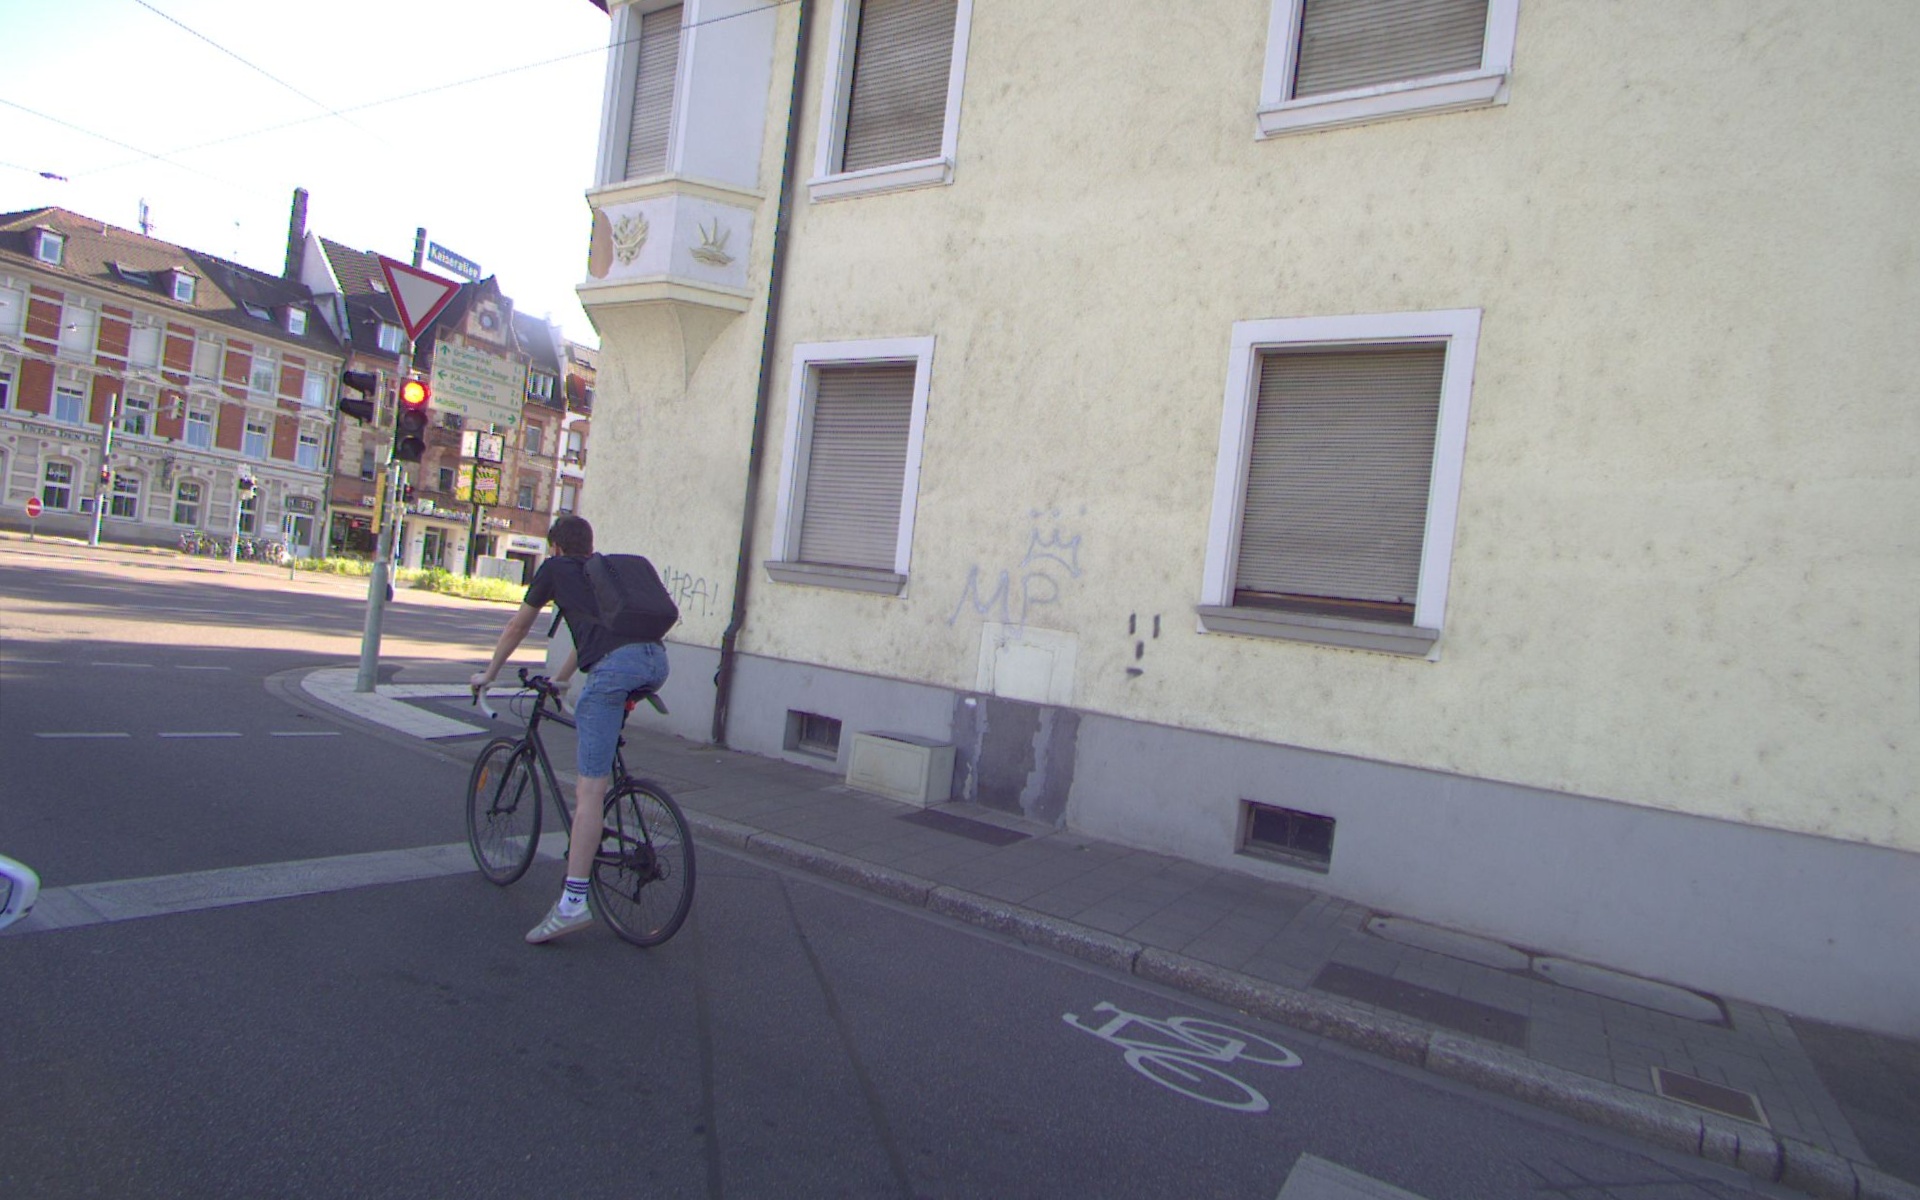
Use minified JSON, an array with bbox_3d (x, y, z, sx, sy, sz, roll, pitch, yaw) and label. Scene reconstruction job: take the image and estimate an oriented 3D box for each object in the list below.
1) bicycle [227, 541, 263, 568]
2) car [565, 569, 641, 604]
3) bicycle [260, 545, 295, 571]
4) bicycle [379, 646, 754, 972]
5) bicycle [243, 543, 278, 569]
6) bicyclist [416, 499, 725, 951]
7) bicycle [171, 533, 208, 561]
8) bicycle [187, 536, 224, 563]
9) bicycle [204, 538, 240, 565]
[{"bbox_3d":[-33.650,-2.153,47.338,1.614,1.064,0.606,7,0,27],"label":"bicycle"},{"bbox_3d":[-23.124,-0.863,65.306,1.966,1.674,4.378,7,-1,29],"label":"car"},{"bbox_3d":[-32.982,-2.015,48.586,1.614,1.064,0.606,7,0,27],"label":"bicycle"},{"bbox_3d":[-1.798,0.834,4.490,1.729,1.029,0.532,7,0,32],"label":"bicycle"},{"bbox_3d":[-33.356,-2.089,47.948,1.614,1.064,0.606,7,0,27],"label":"bicycle"},{"bbox_3d":[-1.742,0.491,4.486,1.066,1.751,0.561,6,-1,32],"label":"bicyclist"},{"bbox_3d":[-34.946,-2.393,45.610,1.614,1.064,0.606,7,0,27],"label":"bicycle"},{"bbox_3d":[-34.647,-2.330,46.192,1.614,1.064,0.606,7,0,27],"label":"bicycle"},{"bbox_3d":[-34.316,-2.264,46.768,1.614,1.064,0.606,7,0,27],"label":"bicycle"}]
